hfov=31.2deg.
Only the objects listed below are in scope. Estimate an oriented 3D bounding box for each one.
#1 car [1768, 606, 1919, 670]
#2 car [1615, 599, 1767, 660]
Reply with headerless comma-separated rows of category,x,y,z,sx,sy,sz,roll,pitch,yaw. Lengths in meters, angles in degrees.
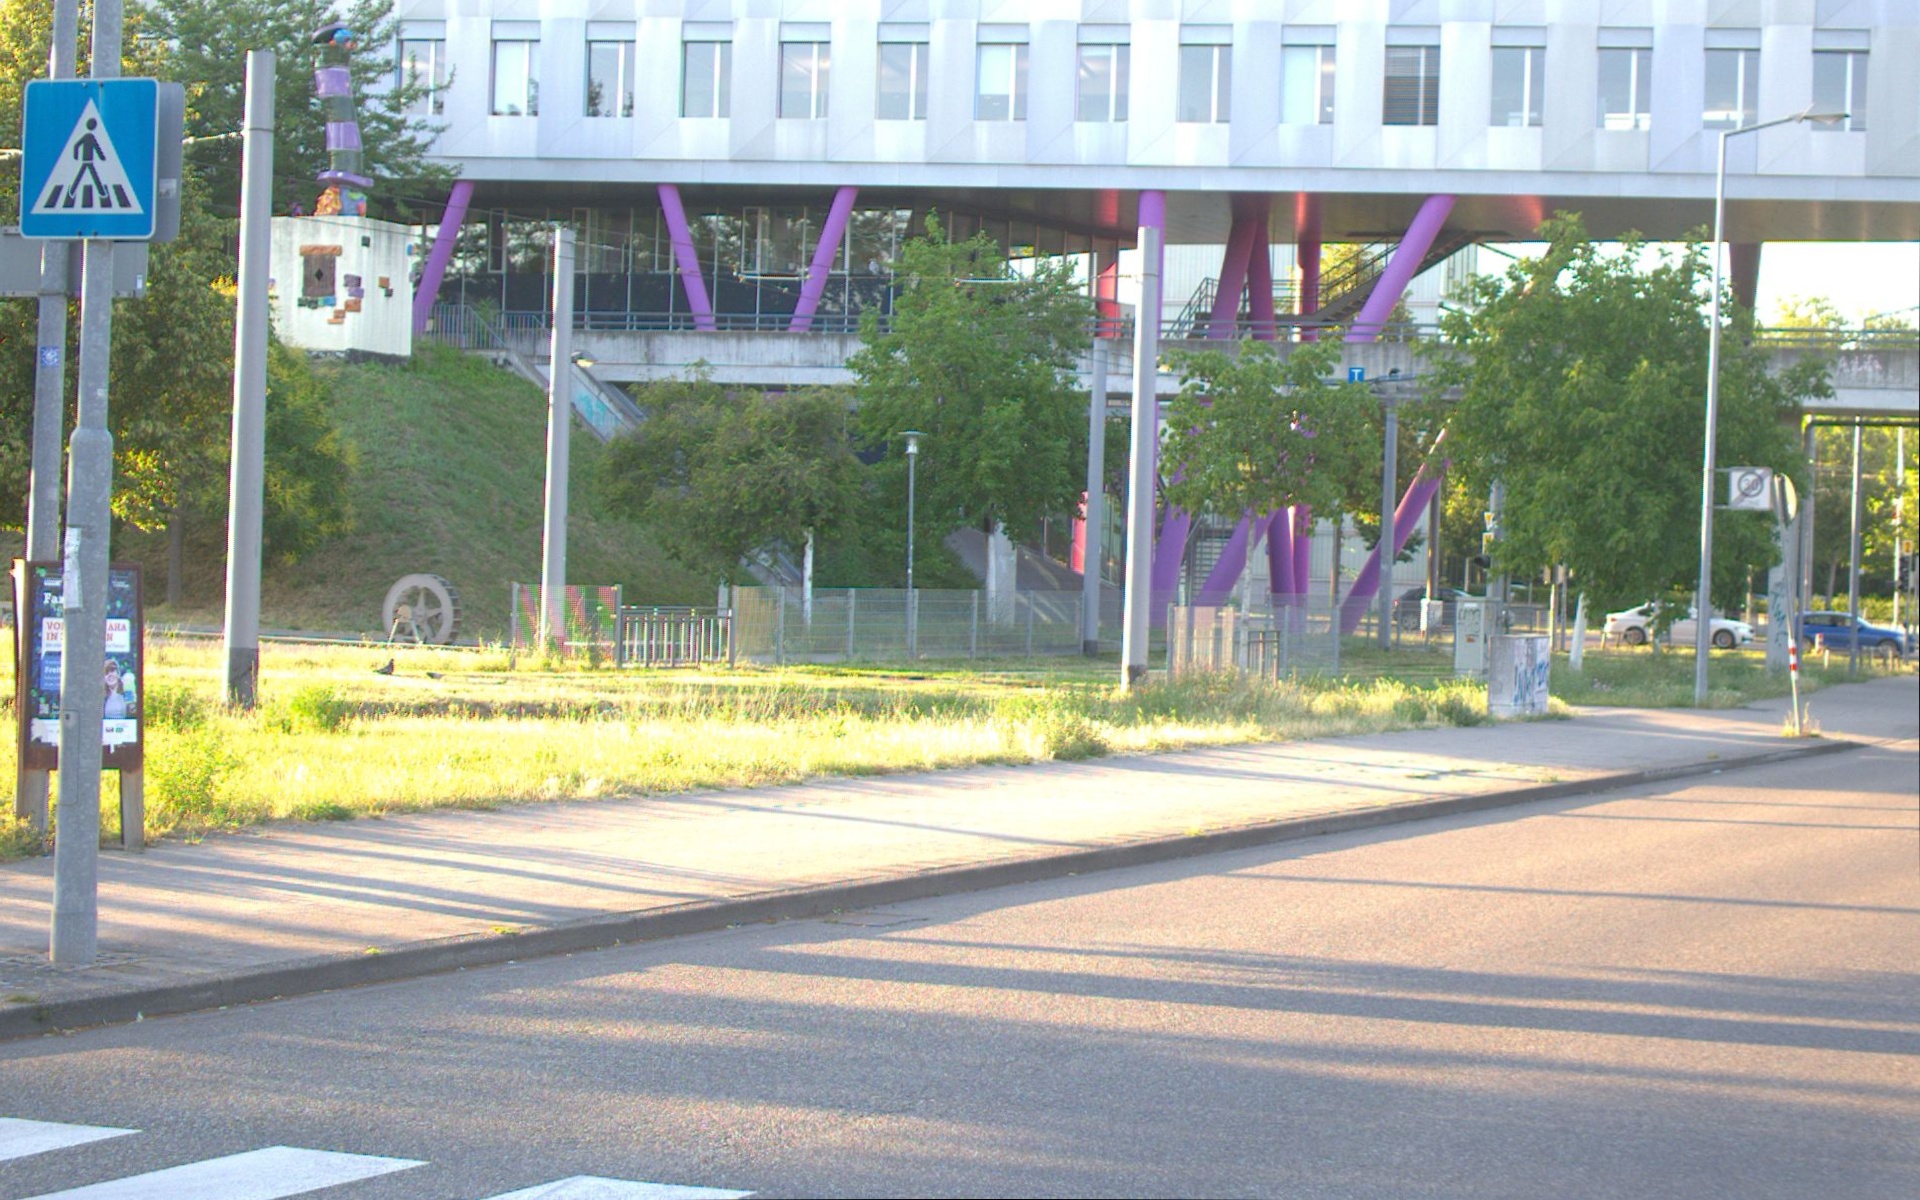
car,28.659,1.209,111.447,4.717,1.822,1.891,2,2,15
car,24.703,0.971,116.210,4.693,1.822,1.832,2,2,25
